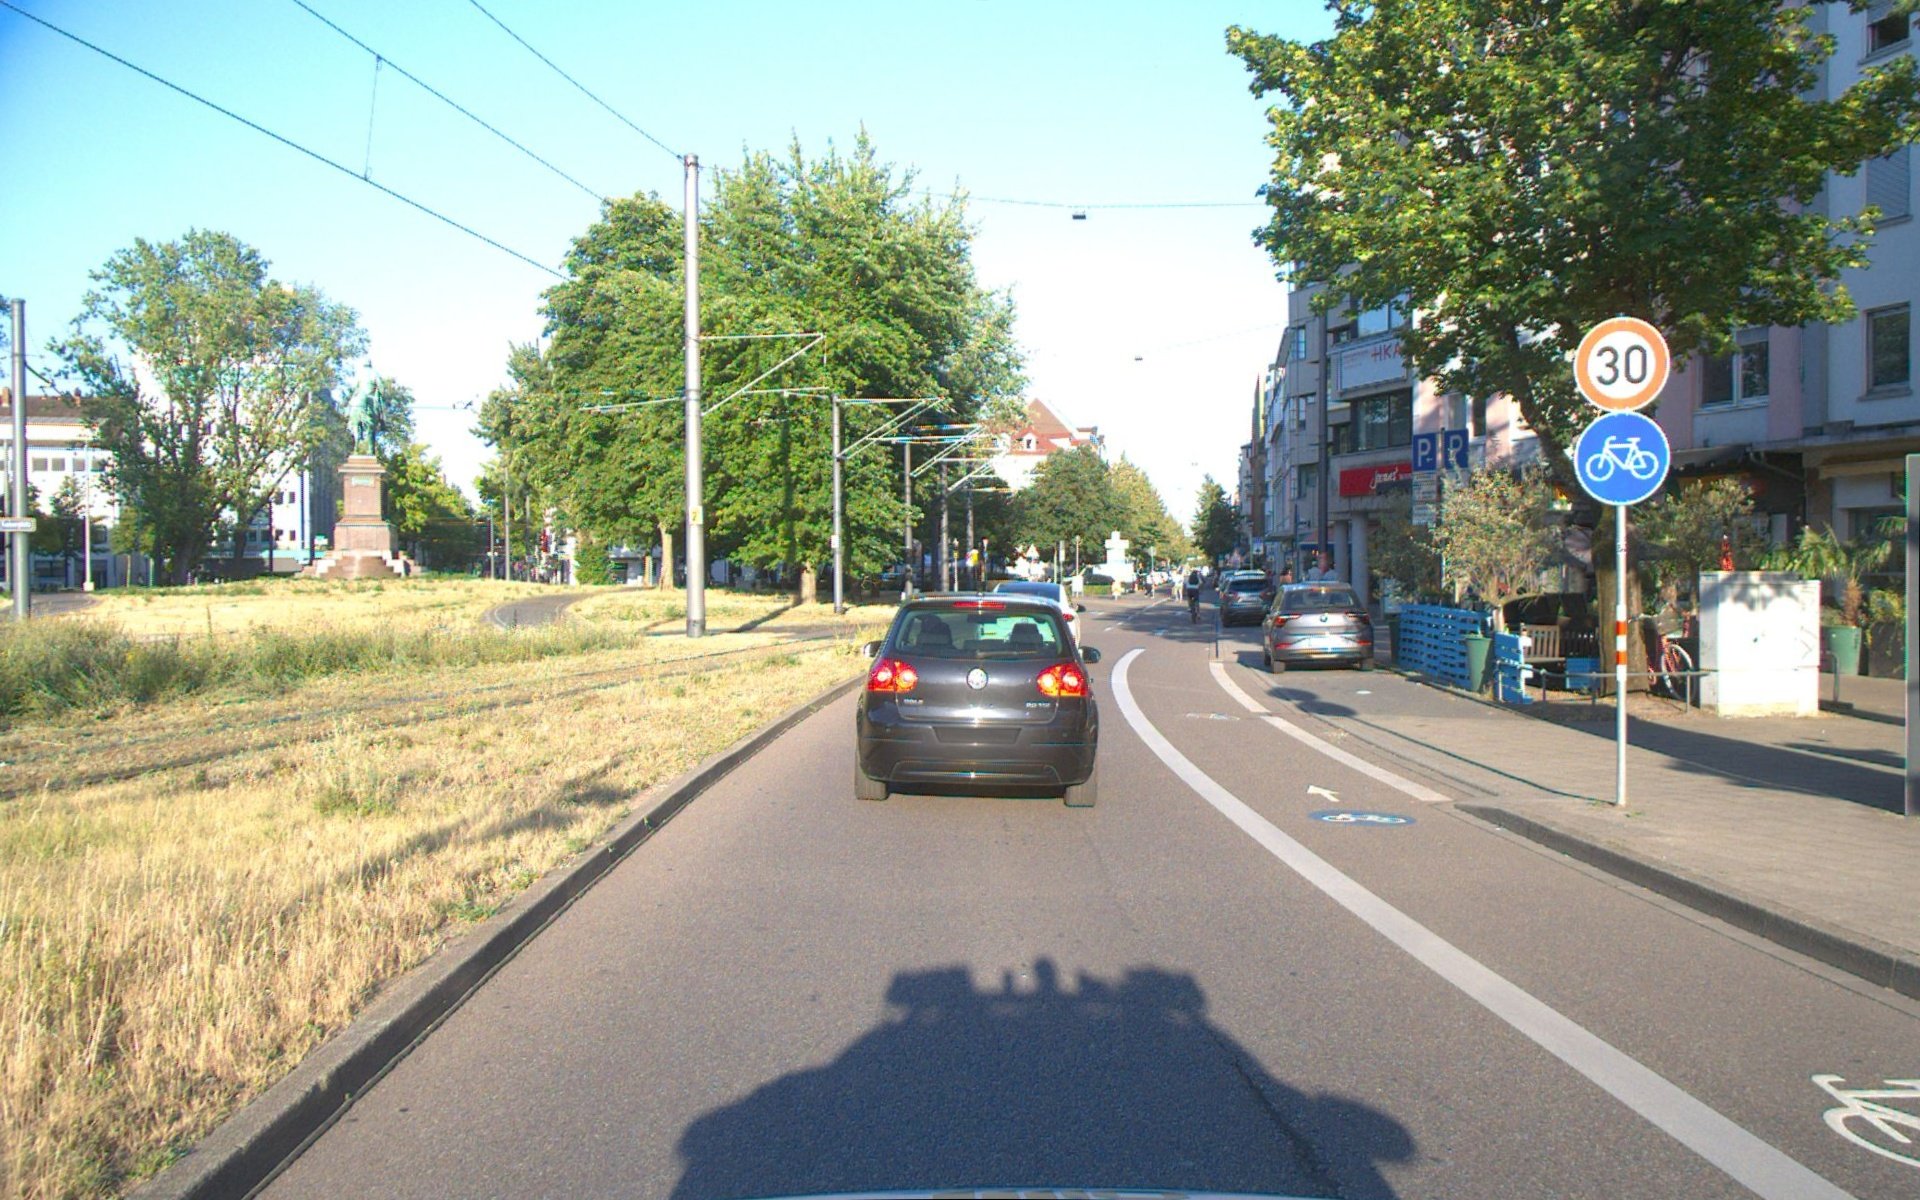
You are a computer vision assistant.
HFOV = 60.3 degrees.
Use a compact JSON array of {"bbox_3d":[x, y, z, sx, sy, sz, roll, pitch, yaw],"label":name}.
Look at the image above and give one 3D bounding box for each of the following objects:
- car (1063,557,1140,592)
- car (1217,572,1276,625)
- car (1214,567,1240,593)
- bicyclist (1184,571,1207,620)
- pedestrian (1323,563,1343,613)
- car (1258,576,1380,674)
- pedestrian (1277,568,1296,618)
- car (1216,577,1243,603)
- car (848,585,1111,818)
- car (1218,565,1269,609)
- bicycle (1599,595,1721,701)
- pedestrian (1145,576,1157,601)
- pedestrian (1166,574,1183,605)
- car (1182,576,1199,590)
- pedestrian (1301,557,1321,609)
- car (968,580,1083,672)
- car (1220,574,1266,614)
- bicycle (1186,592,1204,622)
[{"bbox_3d":[10.708,-1.912,124.953,5.425,2.640,2.144,0,0,-18],"label":"car"},{"bbox_3d":[9.318,-0.084,53.976,1.744,1.583,4.238,-3,0,9],"label":"car"},{"bbox_3d":[20.022,-1.478,124.021,1.884,1.873,4.021,-2,0,10],"label":"car"},{"bbox_3d":[8.002,-0.162,56.145,0.760,1.646,1.026,1,0,8],"label":"bicyclist"},{"bbox_3d":[13.674,-0.435,60.674,0.609,1.770,0.662,-3,0,10],"label":"pedestrian"},{"bbox_3d":[6.142,0.381,28.624,1.691,1.497,3.902,-3,0,8],"label":"car"},{"bbox_3d":[12.055,-0.253,61.067,0.566,1.790,0.662,-3,0,10],"label":"pedestrian"},{"bbox_3d":[18.131,-0.666,111.430,1.697,1.645,3.920,-2,0,8],"label":"car"},{"bbox_3d":[0.226,0.641,12.834,1.711,1.486,4.105,0,1,3],"label":"car"},{"bbox_3d":[12.028,-0.573,70.316,1.828,1.743,4.509,-3,0,7],"label":"car"},{"bbox_3d":[8.482,0.560,20.102,0.413,1.178,1.750,-1,2,-13],"label":"bicycle"},{"bbox_3d":[12.012,-0.722,104.200,0.720,1.582,0.632,0,0,5],"label":"pedestrian"},{"bbox_3d":[12.184,-0.619,93.926,0.841,1.736,0.941,1,0,2],"label":"pedestrian"},{"bbox_3d":[25.581,-1.888,183.510,1.866,1.579,4.004,0,1,8],"label":"car"},{"bbox_3d":[12.926,-0.622,60.852,0.609,1.890,0.662,-3,0,10],"label":"pedestrian"},{"bbox_3d":[1.217,0.398,28.892,1.826,1.466,4.200,0,1,4],"label":"car"},{"bbox_3d":[11.095,-0.260,64.742,1.626,1.466,3.858,-3,0,11],"label":"car"},{"bbox_3d":[8.005,0.232,56.271,0.566,1.004,1.937,1,1,8],"label":"bicycle"}]
